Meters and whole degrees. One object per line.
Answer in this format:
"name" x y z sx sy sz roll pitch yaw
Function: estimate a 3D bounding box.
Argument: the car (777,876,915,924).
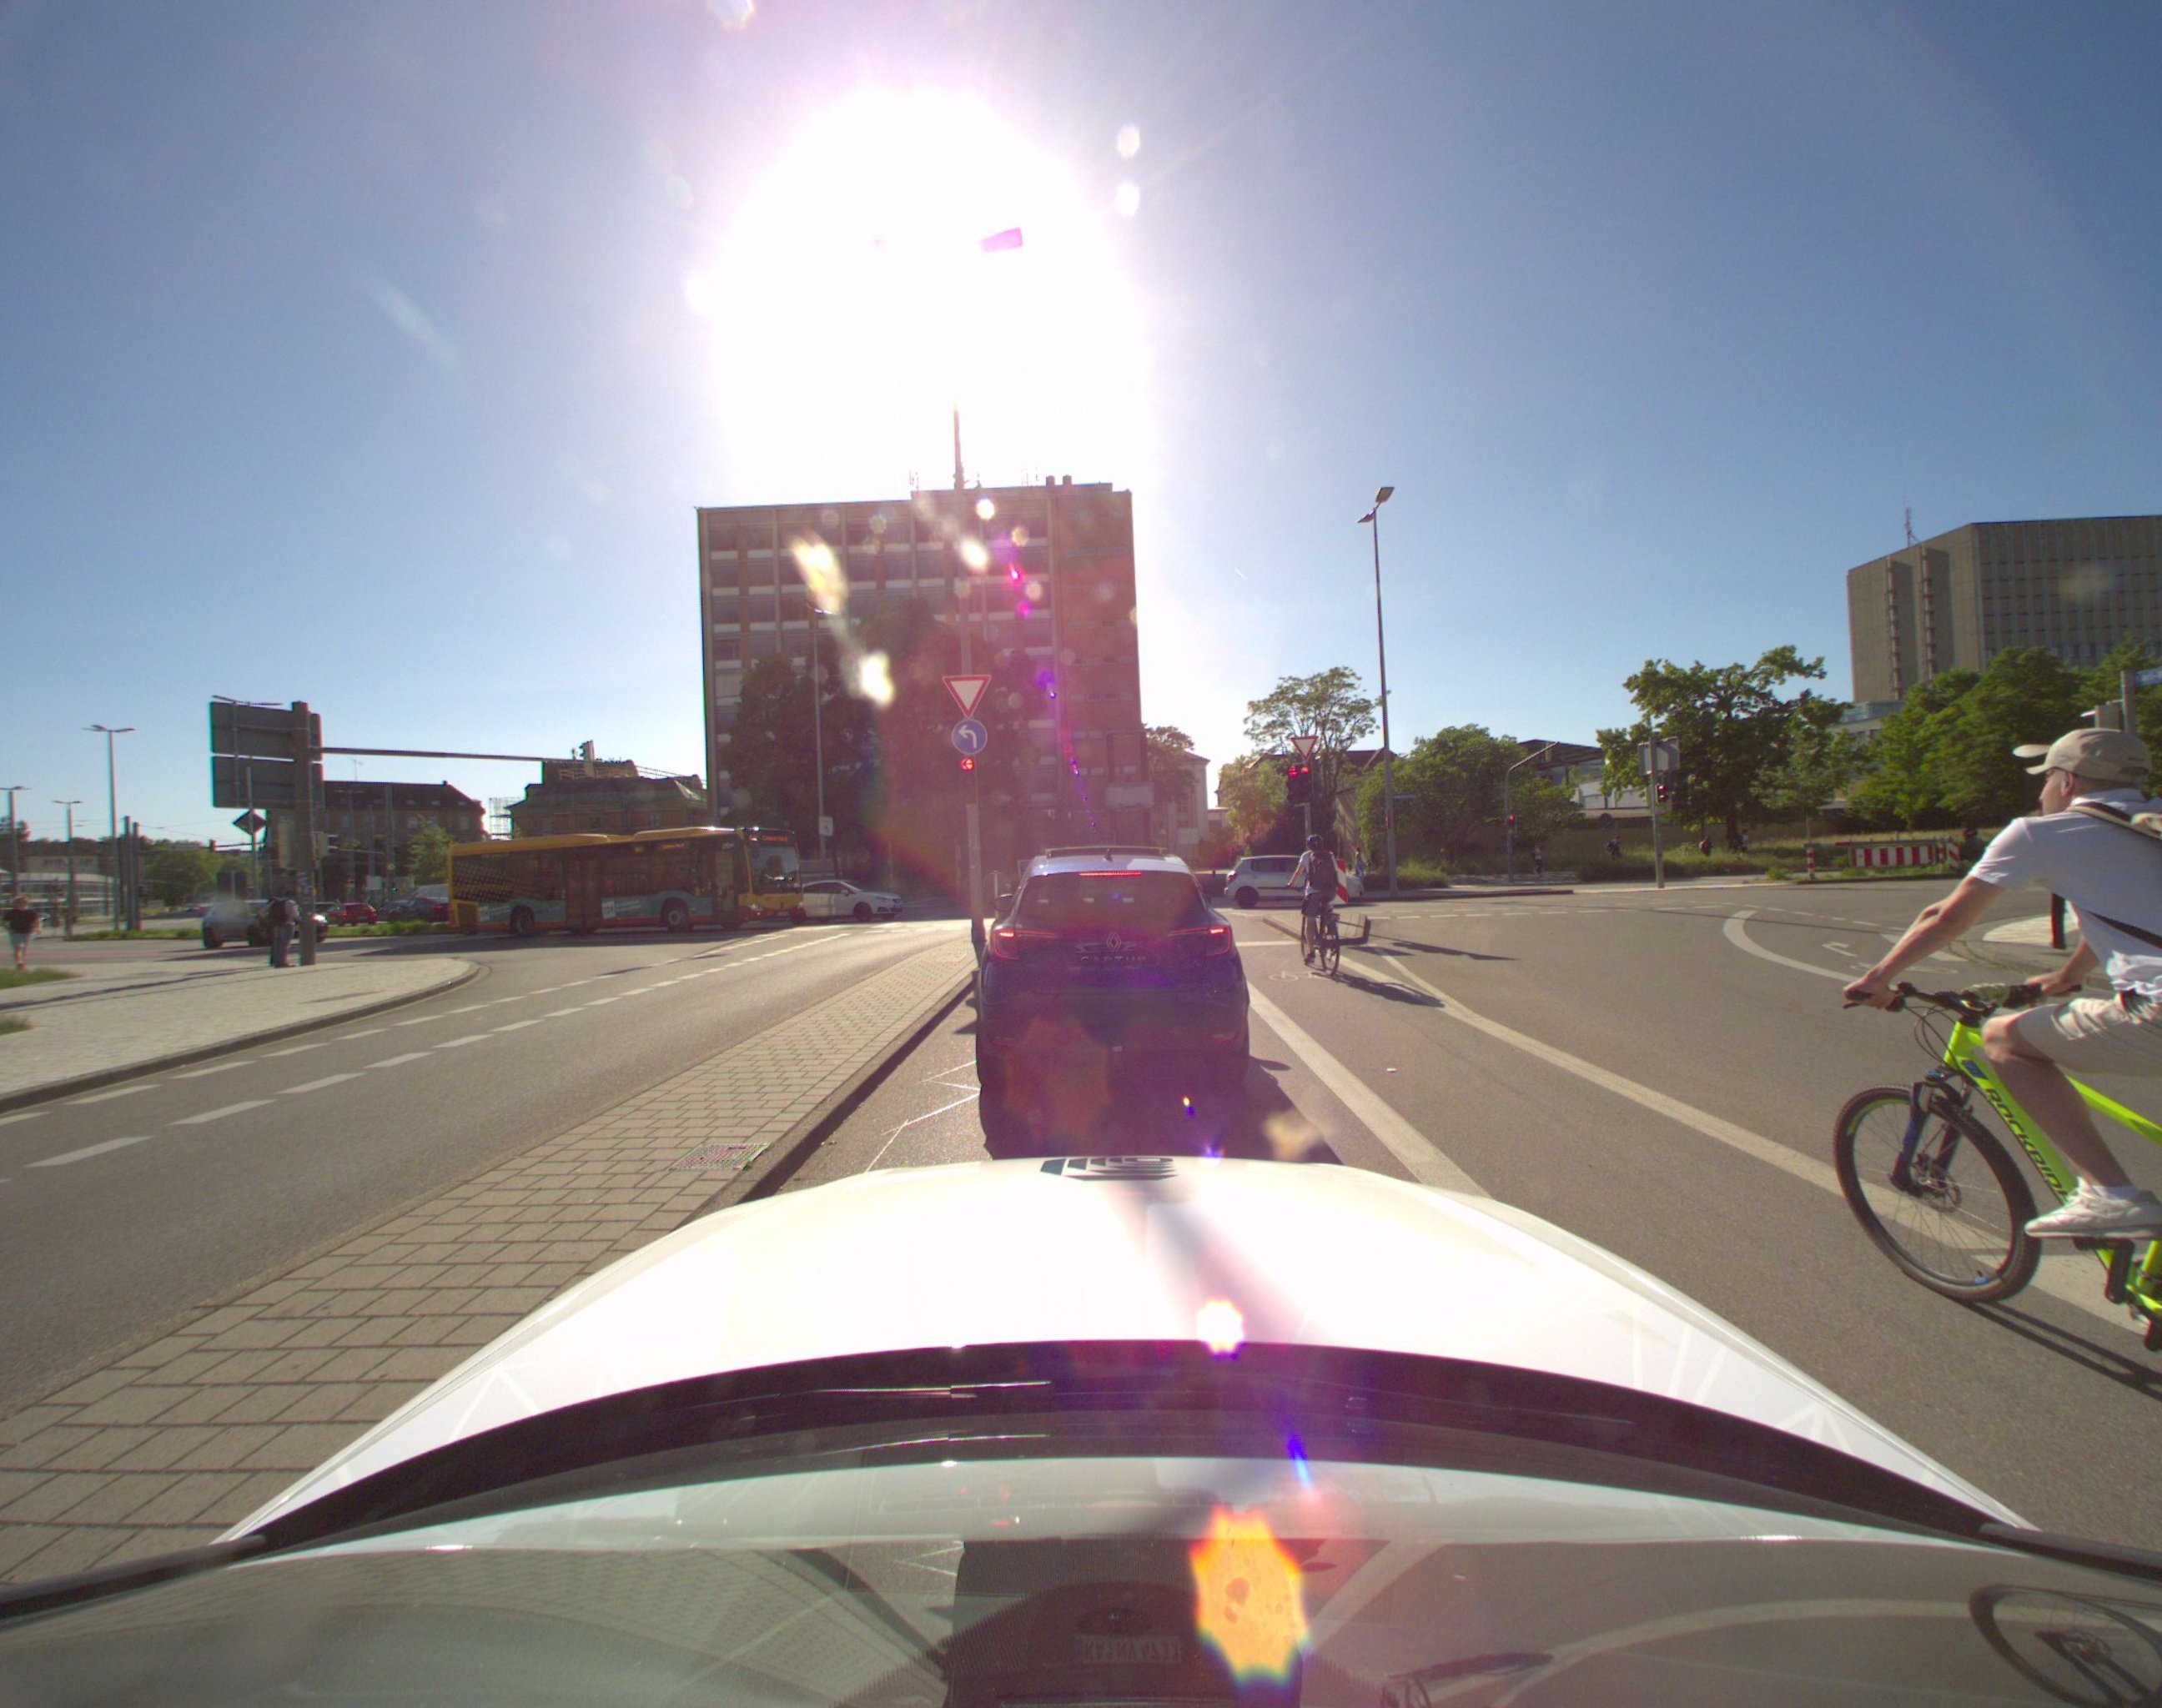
"car" -7.790 1.527 27.116 3.959 1.373 1.766 -3 0 13

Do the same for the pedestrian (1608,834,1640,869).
"pedestrian" 27.428 -0.125 41.180 0.958 1.732 0.927 -2 -1 5

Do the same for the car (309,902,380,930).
"car" -45.582 3.835 50.416 3.771 1.518 2.012 -3 -1 27

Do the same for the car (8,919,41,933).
"car" -123.085 8.335 94.915 3.949 1.389 2.012 -4 -1 43

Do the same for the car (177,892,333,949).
"car" -31.074 2.492 30.665 4.691 1.861 2.013 -3 -1 15

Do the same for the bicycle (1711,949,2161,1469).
"bicycle" 2.851 0.906 2.341 0.669 1.050 1.844 0 0 1

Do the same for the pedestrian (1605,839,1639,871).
"pedestrian" 26.564 0.057 40.004 1.069 1.521 0.880 -2 -1 6

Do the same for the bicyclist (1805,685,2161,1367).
"bicyclist" 2.850 0.401 2.288 0.672 1.583 1.081 0 0 1

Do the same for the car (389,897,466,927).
"car" -37.110 3.300 46.224 3.771 1.518 2.012 -3 -1 27

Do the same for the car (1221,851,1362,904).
"car" 6.109 0.707 23.756 3.816 1.403 1.899 -2 -3 15

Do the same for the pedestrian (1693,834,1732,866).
"pedestrian" 31.132 -0.185 40.181 1.140 1.521 0.944 -2 -1 7

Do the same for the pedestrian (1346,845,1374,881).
"pedestrian" 15.095 0.480 44.048 1.288 1.855 0.969 -3 -1 13

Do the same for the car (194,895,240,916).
"car" -89.587 5.279 84.442 3.951 2.014 2.077 -1 -1 24

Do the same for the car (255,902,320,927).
"car" -53.505 4.088 54.897 3.771 1.518 2.012 -3 -1 27

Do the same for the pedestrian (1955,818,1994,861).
"pedestrian" 43.745 -0.709 39.878 0.891 2.079 0.814 -2 -1 5

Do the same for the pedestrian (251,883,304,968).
"pedestrian" -18.203 1.600 18.456 0.673 1.855 0.608 -3 -1 25

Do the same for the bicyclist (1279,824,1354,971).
"bicyclist" 3.004 0.537 10.458 0.674 1.785 0.939 -1 -1 0

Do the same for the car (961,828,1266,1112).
"car" 0.224 0.685 6.758 1.788 1.655 3.853 -1 0 1

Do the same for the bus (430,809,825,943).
"bus" -14.514 0.787 25.919 12.323 3.570 3.265 -3 -1 17

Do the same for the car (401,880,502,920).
"car" -43.988 3.232 56.867 6.868 2.547 3.032 -3 -1 29

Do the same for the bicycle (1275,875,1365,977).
"bicycle" 3.034 0.873 10.506 0.613 1.138 1.826 -2 0 0

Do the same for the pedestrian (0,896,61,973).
"pedestrian" -26.877 2.032 20.775 0.856 1.845 0.847 -3 -1 25

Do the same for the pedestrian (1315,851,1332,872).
"pedestrian" 19.215 0.592 64.607 0.932 1.613 1.176 -2 -1 2

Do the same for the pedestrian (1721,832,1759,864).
"pedestrian" 33.290 -0.298 41.170 1.138 1.521 0.880 -3 -1 5

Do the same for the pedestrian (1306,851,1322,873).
"pedestrian" 18.676 0.619 65.328 0.949 1.741 0.984 -2 -1 2

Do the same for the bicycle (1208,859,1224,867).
"bicycle" 15.699 1.060 94.642 1.764 0.898 0.766 -2 -1 2

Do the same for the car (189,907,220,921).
"car" -109.991 7.526 102.163 3.948 1.582 2.013 -1 -1 33

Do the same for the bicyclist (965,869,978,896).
"bicyclist" -5.917 1.553 44.103 0.636 1.412 0.647 -3 -3 -8

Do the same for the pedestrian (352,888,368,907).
"pedestrian" -82.991 4.996 93.718 1.078 2.013 1.282 -3 -1 44

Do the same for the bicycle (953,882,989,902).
"bicycle" -5.940 2.059 44.073 1.861 1.007 0.698 -3 -3 -9

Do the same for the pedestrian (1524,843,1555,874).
"pedestrian" 23.251 0.223 41.306 1.078 1.521 0.933 -2 -1 11

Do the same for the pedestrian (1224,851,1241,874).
"pedestrian" 13.267 0.744 71.353 1.152 2.013 1.165 -2 -1 2

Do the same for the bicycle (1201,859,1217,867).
"bicycle" 15.554 1.114 99.012 1.764 0.893 0.766 -2 -1 2

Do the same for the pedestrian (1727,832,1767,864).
"pedestrian" 33.116 -0.300 40.487 1.123 1.521 0.992 -2 -1 5

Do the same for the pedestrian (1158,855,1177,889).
"pedestrian" 4.878 1.017 45.831 0.926 1.855 0.809 -3 -1 11

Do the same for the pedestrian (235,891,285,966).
"pedestrian" -19.250 1.734 19.095 0.627 1.697 0.608 -3 -1 25
